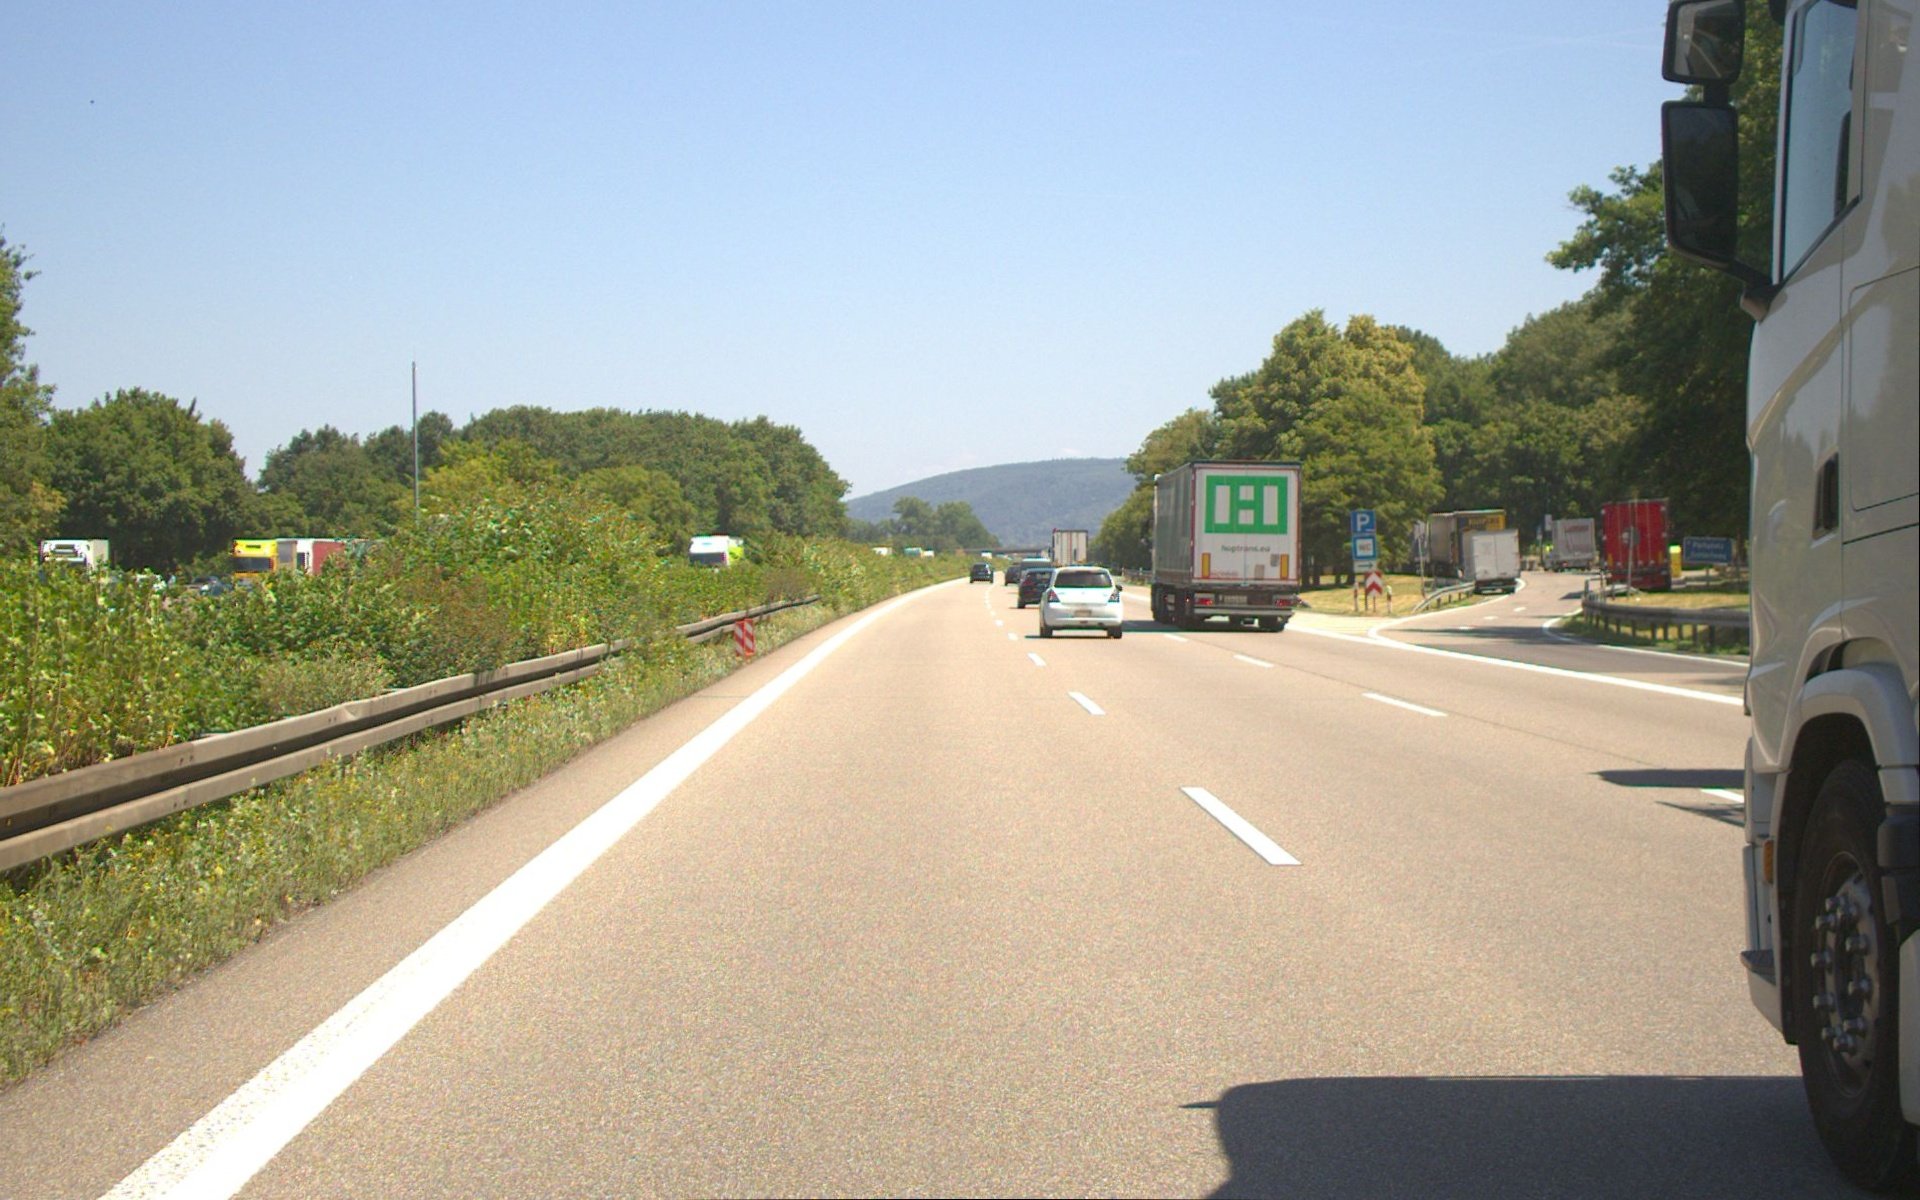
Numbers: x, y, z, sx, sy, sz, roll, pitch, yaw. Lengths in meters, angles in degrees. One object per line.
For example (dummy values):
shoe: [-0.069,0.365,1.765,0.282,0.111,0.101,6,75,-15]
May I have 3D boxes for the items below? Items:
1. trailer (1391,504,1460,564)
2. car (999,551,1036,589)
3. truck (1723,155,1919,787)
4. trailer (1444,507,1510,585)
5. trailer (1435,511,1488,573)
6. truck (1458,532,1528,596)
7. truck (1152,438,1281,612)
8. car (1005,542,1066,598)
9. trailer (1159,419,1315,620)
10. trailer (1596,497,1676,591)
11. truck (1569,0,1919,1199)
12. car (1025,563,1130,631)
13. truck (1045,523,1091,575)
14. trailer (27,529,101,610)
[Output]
trailer: [31.983,-4.520,236.806,3.135,3.939,14.196,-1,1,1]
car: [3.150,-1.667,188.764,1.882,2.007,4.000,-1,1,-1]
truck: [6.989,-0.835,23.931,2.449,4.024,4.071,0,0,0]
trailer: [27.014,-2.767,179.258,3.185,3.921,11.546,0,1,10]
trailer: [31.504,-3.625,216.319,3.103,3.777,13.359,1,1,8]
truck: [24.982,-1.688,161.426,2.468,2.936,7.658,0,1,3]
truck: [6.955,-2.020,93.931,3.182,4.591,5.947,0,1,1]
car: [2.668,-1.048,120.648,1.897,1.886,4.000,-1,0,4]
trailer: [6.731,-1.925,85.204,3.182,4.612,12.050,-1,1,2]
trailer: [29.421,-2.416,149.238,2.981,3.865,12.881,-1,1,13]
truck: [3.456,-0.700,7.870,3.228,4.143,4.560,-1,1,-1]
car: [2.491,-0.083,73.601,1.811,1.400,3.318,-1,1,-5]
truck: [8.075,-3.839,258.506,3.325,3.744,12.795,1,1,1]
trailer: [-46.023,-1.589,176.906,2.609,3.957,12.608,-1,1,-10]
